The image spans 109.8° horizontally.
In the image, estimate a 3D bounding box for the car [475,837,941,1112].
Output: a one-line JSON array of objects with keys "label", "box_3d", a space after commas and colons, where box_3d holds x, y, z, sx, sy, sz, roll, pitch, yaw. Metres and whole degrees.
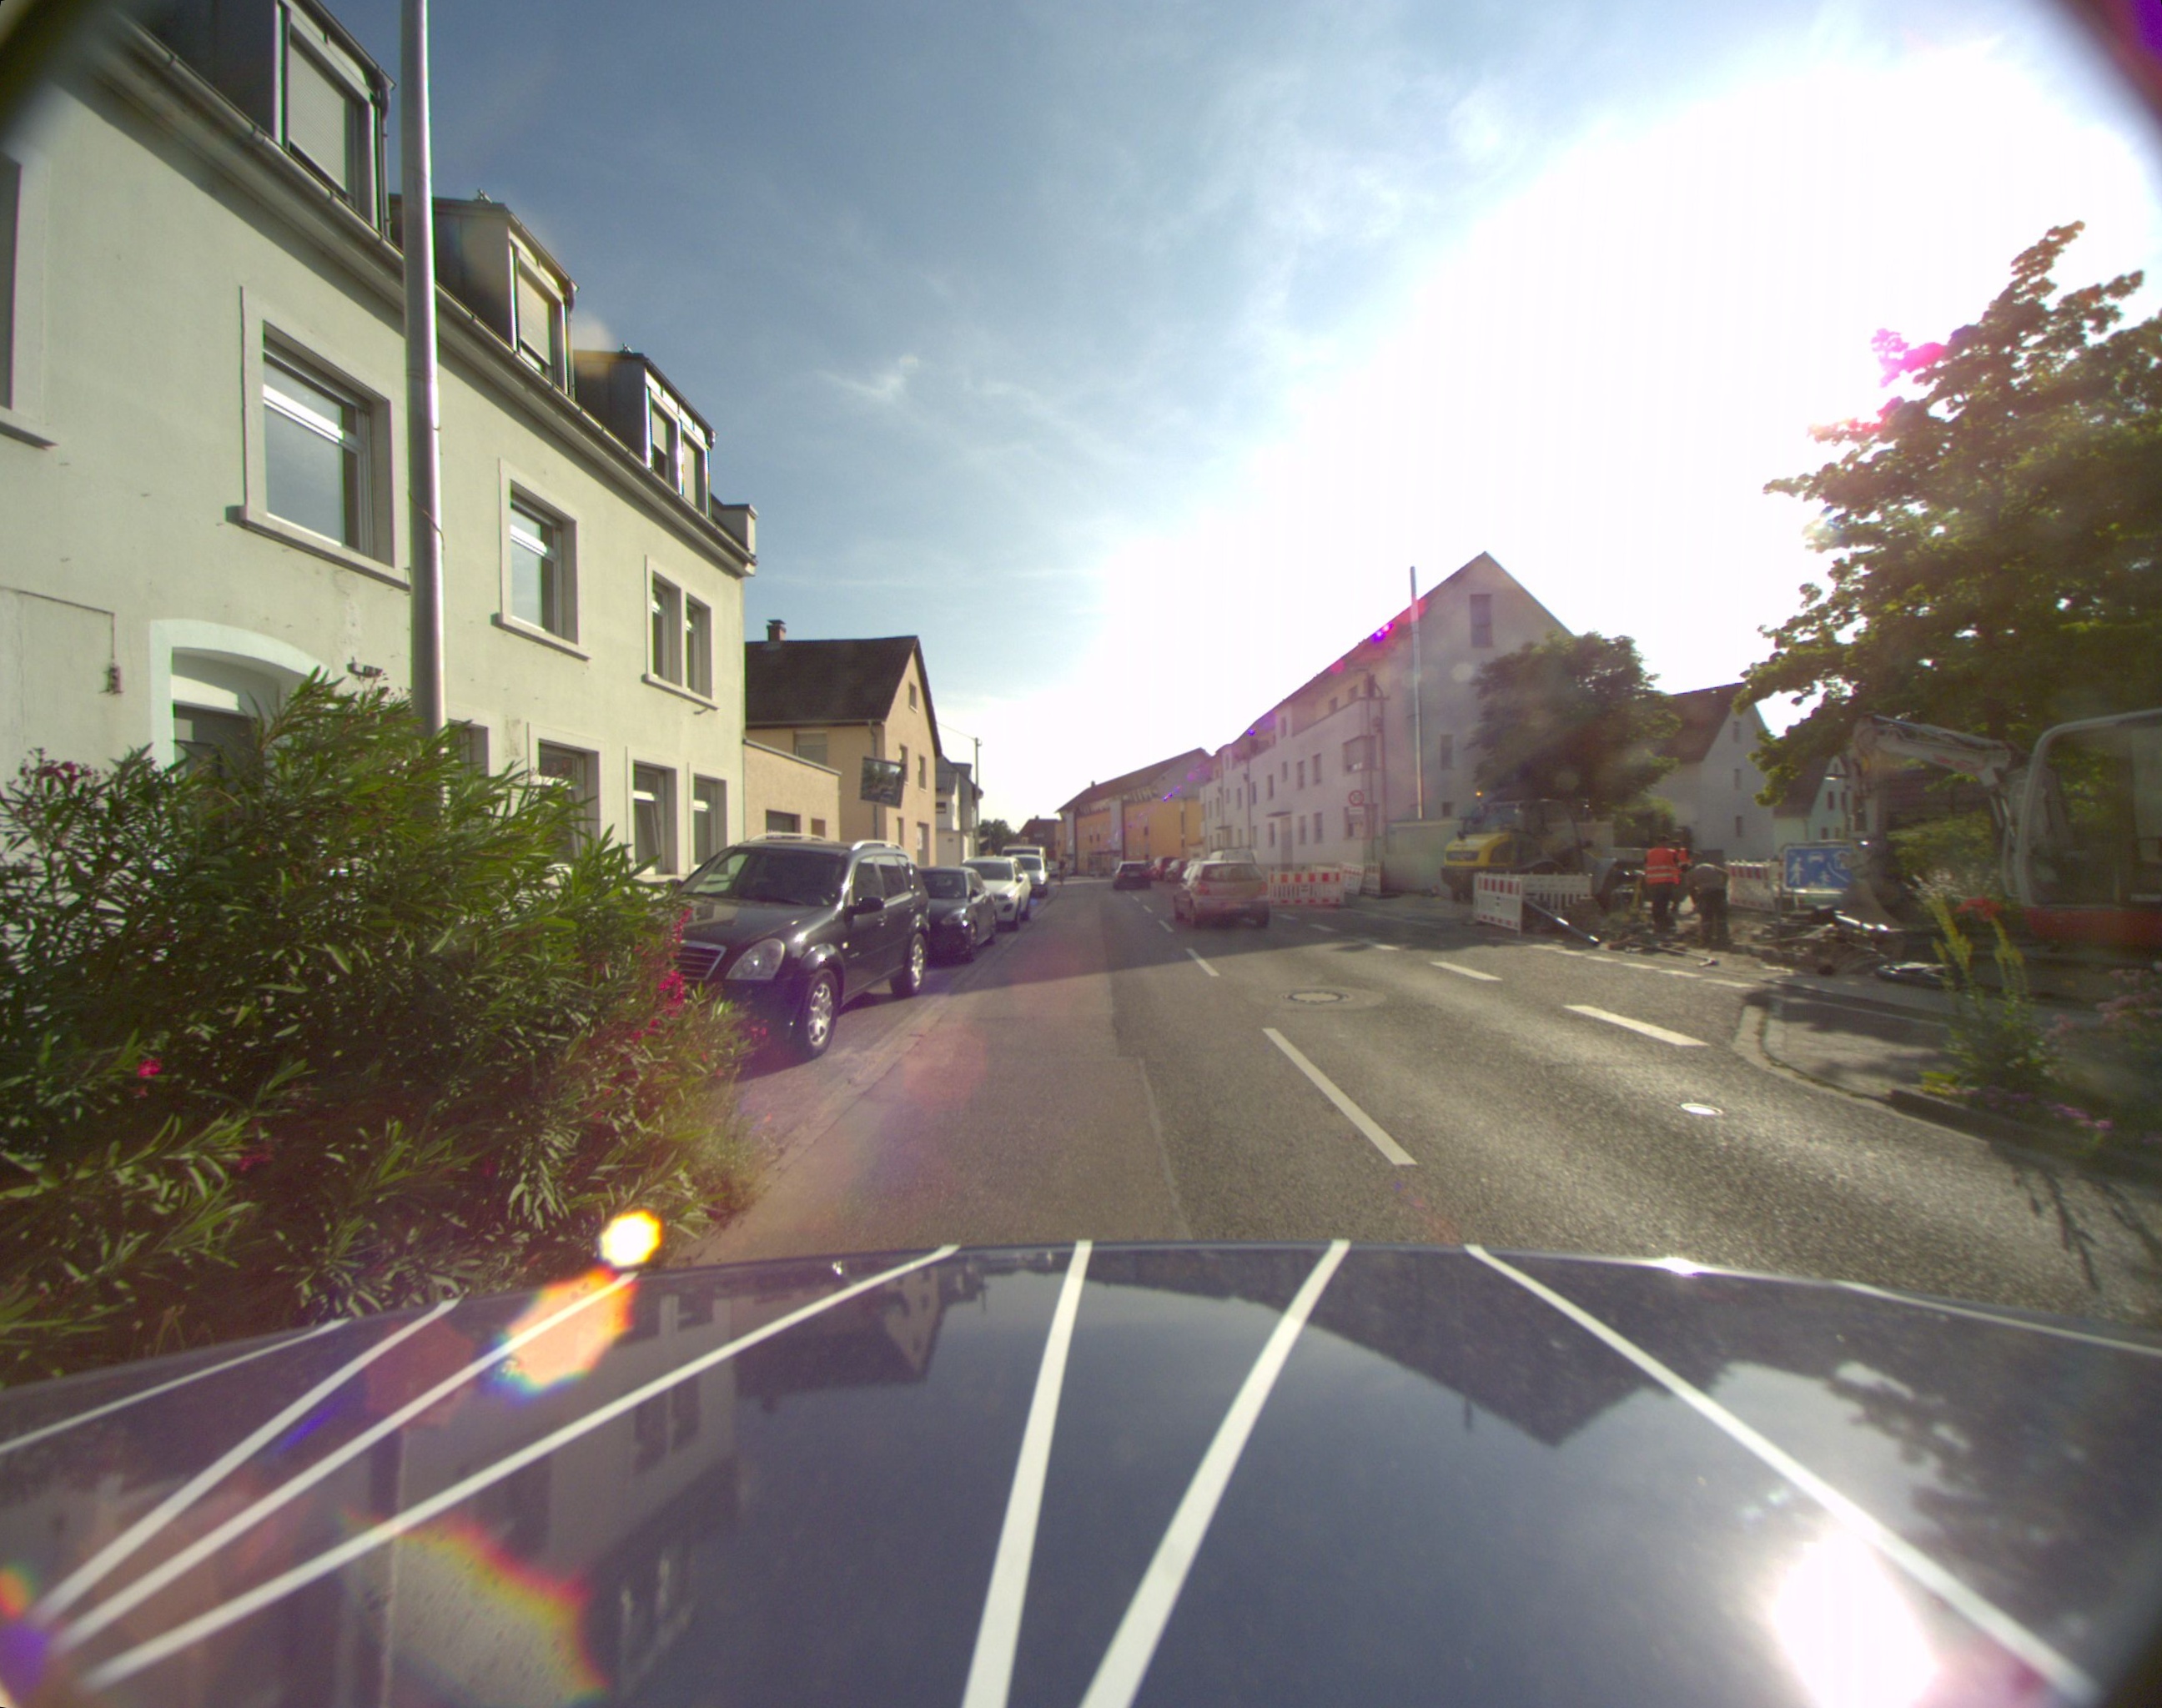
[{"label": "car", "box_3d": [-2.982, 0.839, 7.468, 2.080, 1.845, 4.612, 0, -1, 4]}]

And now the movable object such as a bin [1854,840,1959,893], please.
[{"label": "movable object such as a bin", "box_3d": [23.807, 0.346, 21.943, 1.418, 1.412, 1.994, -4, 2, -42]}]

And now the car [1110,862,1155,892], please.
[{"label": "car", "box_3d": [2.589, 1.141, 39.015, 1.835, 1.411, 4.208, -1, 0, -3]}]

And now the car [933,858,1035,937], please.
[{"label": "car", "box_3d": [-2.207, 0.952, 18.490, 1.816, 1.674, 4.477, 0, 0, 1]}]

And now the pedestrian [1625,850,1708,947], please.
[{"label": "pedestrian", "box_3d": [10.403, 0.765, 13.532, 0.669, 1.654, 0.993, -2, 0, 2]}]

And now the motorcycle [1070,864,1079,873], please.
[{"label": "motorcycle", "box_3d": [-0.912, 1.948, 100.350, 0.584, 1.175, 1.875, -2, 0, -19]}]

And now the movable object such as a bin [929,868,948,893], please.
[{"label": "movable object such as a bin", "box_3d": [-6.432, 1.205, 34.253, 0.730, 1.087, 0.553, -2, 0, -1]}]

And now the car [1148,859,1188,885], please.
[{"label": "car", "box_3d": [5.723, 1.137, 50.328, 1.732, 1.612, 4.261, -1, 0, -6]}]

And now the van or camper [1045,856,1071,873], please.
[{"label": "van or camper", "box_3d": [-2.862, 1.256, 93.685, 2.001, 1.991, 4.914, -1, 0, -17]}]

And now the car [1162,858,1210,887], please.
[{"label": "car", "box_3d": [6.130, 1.053, 44.629, 1.732, 1.469, 4.261, -3, 0, -6]}]

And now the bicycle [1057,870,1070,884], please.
[{"label": "bicycle", "box_3d": [-1.169, 1.493, 49.756, 0.680, 0.849, 2.026, -1, 0, -6]}]

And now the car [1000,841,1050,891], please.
[{"label": "car", "box_3d": [-2.678, 0.606, 37.621, 2.180, 2.313, 4.997, 0, -1, -1]}]

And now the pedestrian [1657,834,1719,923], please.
[{"label": "pedestrian", "box_3d": [14.059, 0.556, 17.615, 0.766, 2.006, 0.894, -2, 0, 13]}]

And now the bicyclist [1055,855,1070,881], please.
[{"label": "bicyclist", "box_3d": [-1.209, 0.904, 49.898, 0.846, 1.679, 0.877, -2, 0, -6]}]

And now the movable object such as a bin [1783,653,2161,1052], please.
[{"label": "movable object such as a bin", "box_3d": [9.259, -0.007, 7.144, 1.652, 3.119, 3.900, -1, 0, 0]}]

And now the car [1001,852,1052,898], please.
[{"label": "car", "box_3d": [-2.190, 0.833, 31.458, 1.782, 1.731, 4.483, 1, 0, 0]}]

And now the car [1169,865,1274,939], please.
[{"label": "car", "box_3d": [3.102, 1.012, 17.433, 1.622, 1.446, 3.685, -1, 0, -2]}]

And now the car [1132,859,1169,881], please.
[{"label": "car", "box_3d": [5.012, 1.162, 55.607, 1.732, 1.469, 4.500, -3, 0, -7]}]

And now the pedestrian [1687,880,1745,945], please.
[{"label": "pedestrian", "box_3d": [11.226, 1.027, 13.438, 0.500, 1.093, 0.597, -2, 0, 2]}]

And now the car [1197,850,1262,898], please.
[{"label": "car", "box_3d": [6.548, 0.876, 33.964, 1.732, 1.949, 4.438, -2, -1, -3]}]

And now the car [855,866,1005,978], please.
[{"label": "car", "box_3d": [-2.394, 1.011, 13.185, 1.593, 1.519, 4.614, 0, 0, 1]}]

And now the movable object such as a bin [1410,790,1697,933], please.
[{"label": "movable object such as a bin", "box_3d": [10.756, 0.134, 17.452, 5.516, 2.883, 2.110, -2, 0, -10]}]

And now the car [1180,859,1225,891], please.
[{"label": "car", "box_3d": [6.103, 1.046, 38.552, 1.497, 1.456, 3.513, -3, 0, -3]}]
